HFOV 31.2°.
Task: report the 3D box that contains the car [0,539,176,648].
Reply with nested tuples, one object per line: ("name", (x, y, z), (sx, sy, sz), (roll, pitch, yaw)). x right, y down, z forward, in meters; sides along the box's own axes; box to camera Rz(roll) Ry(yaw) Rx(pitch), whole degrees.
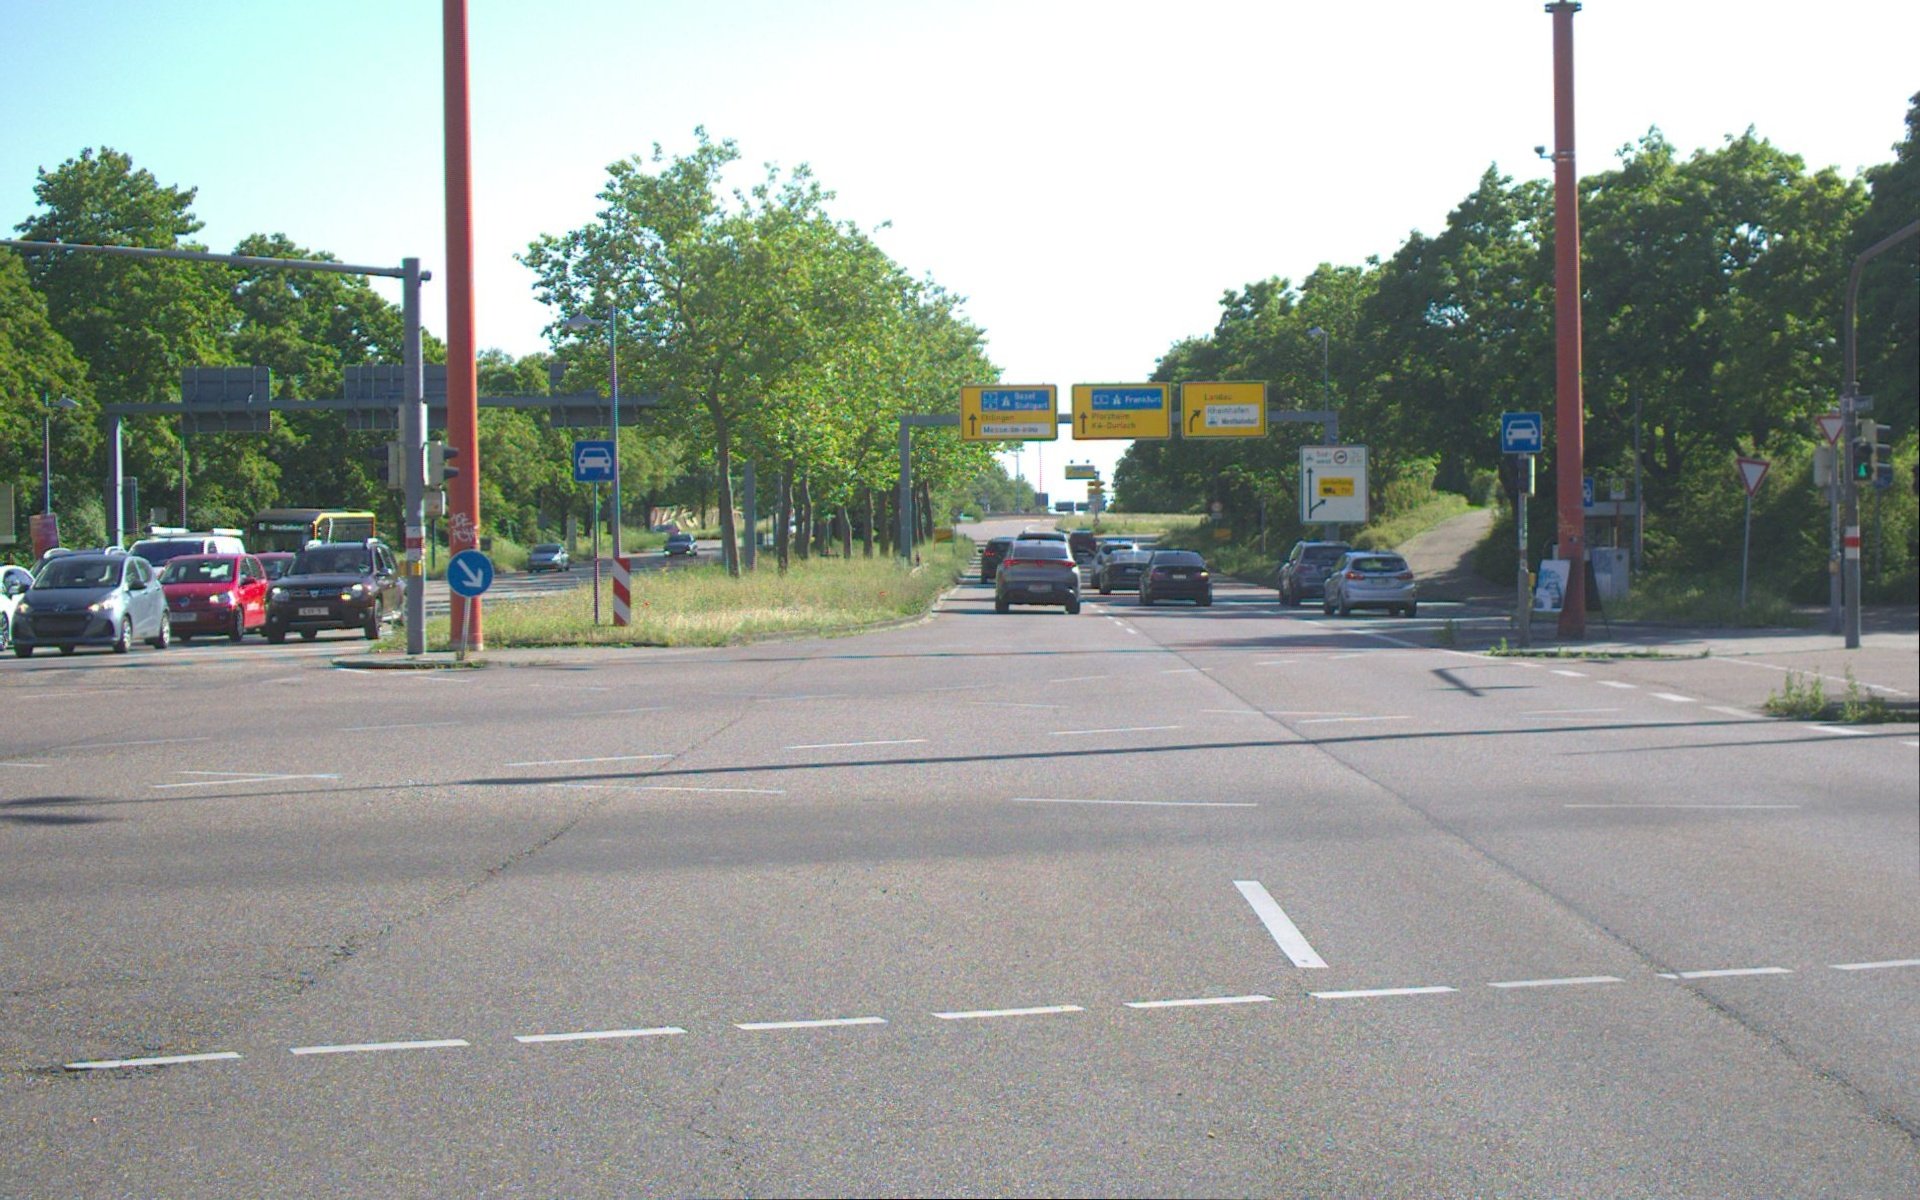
("car", (-13.256, -0.134, 52.164), (1.993, 1.568, 4.121), (-1, 1, -3))

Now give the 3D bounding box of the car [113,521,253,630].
("car", (-16.117, -0.531, 71.506), (2.062, 2.185, 4.379), (-1, 1, -2))

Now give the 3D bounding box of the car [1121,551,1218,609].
("car", (5.367, -0.540, 88.547), (1.953, 1.437, 4.281), (-1, 1, -4))

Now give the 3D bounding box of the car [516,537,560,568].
("car", (-21.858, -2.482, 178.297), (1.993, 1.568, 4.121), (-1, 1, -3))

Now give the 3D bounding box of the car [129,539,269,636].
("car", (-12.902, -0.238, 58.466), (1.993, 1.568, 4.122), (-1, 1, -8))

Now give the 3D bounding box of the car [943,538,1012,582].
("car", (0.613, -1.453, 124.241), (2.158, 1.568, 4.281), (-1, 1, -4))

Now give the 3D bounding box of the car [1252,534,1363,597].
("car", (8.973, -0.899, 89.132), (2.158, 1.568, 4.281), (-1, 1, -4))

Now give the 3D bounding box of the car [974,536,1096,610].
("car", (1.631, -0.623, 76.346), (2.245, 1.568, 4.282), (-1, 1, -5))

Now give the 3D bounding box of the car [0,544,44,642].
("car", (-16.492, -0.120, 57.034), (1.993, 1.568, 4.122), (-2, 1, -8))

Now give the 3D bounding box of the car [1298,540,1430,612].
("car", (9.065, -0.564, 77.481), (2.158, 1.568, 4.281), (-1, 1, -4))

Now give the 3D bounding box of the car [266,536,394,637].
("car", (-10.250, -0.247, 56.145), (1.876, 1.568, 4.122), (-1, 1, -8))

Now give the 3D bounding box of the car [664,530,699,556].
("car", (-17.322, -3.564, 213.931), (1.993, 1.568, 4.121), (-1, 1, -3))

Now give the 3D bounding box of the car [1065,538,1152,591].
("car", (4.523, -1.088, 105.049), (2.158, 1.568, 4.281), (-1, 1, -4))
